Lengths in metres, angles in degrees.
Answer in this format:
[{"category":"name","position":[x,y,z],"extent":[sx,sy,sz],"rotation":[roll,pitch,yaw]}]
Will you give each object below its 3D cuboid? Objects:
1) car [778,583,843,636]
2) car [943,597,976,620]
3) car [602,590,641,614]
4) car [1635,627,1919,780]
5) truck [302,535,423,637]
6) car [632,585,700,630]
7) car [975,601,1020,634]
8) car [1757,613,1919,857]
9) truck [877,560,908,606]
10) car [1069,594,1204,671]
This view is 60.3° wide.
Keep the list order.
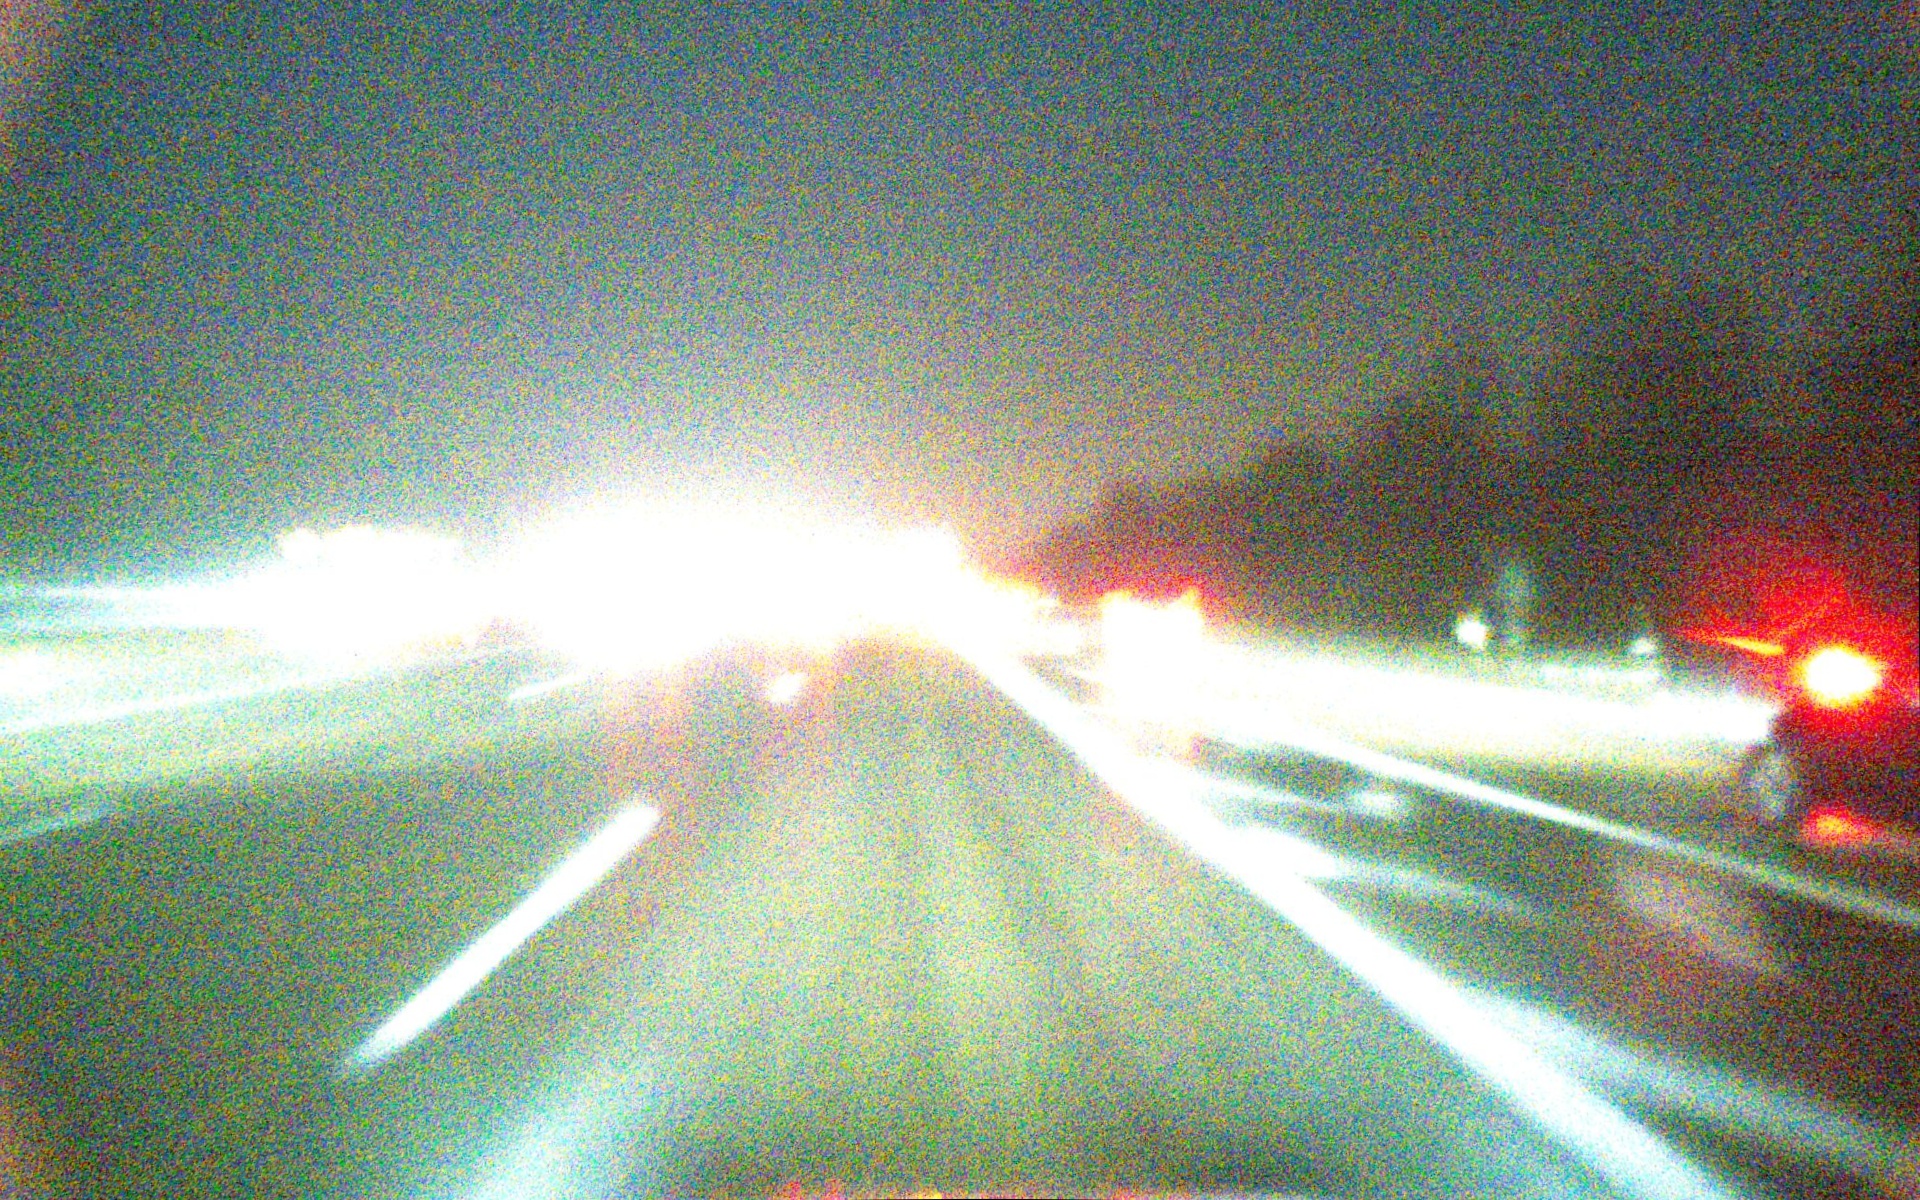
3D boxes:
[{"category":"car","position":[-4.625,0.275,51.494],"extent":[1.766,1.513,3.998],"rotation":[2,0,-2]},{"category":"car","position":[-0.056,0.499,92.532],"extent":[1.550,1.268,3.064],"rotation":[1,-1,-6]},{"category":"car","position":[-20.723,0.141,101.382],"extent":[1.582,1.322,3.700],"rotation":[-3,-1,-1]},{"category":"car","position":[9.887,1.145,19.720],"extent":[1.686,1.523,4.039],"rotation":[1,0,-6]},{"category":"truck","position":[-25.988,-0.506,72.338],"extent":[2.757,4.076,7.345],"rotation":[-3,-1,-3]},{"category":"car","position":[-9.135,0.260,51.596],"extent":[1.629,1.258,3.758],"rotation":[-3,-1,-4]},{"category":"car","position":[1.604,0.741,72.337],"extent":[1.550,1.267,3.065],"rotation":[2,1,-6]},{"category":"car","position":[6.914,0.866,9.970],"extent":[1.954,1.474,4.333],"rotation":[1,0,-3]},{"category":"truck","position":[-4.834,-1.187,119.316],"extent":[1.953,3.096,6.463],"rotation":[-3,-1,-1]},{"category":"car","position":[3.907,0.687,37.439],"extent":[2.018,1.545,5.009],"rotation":[2,0,-6]}]
